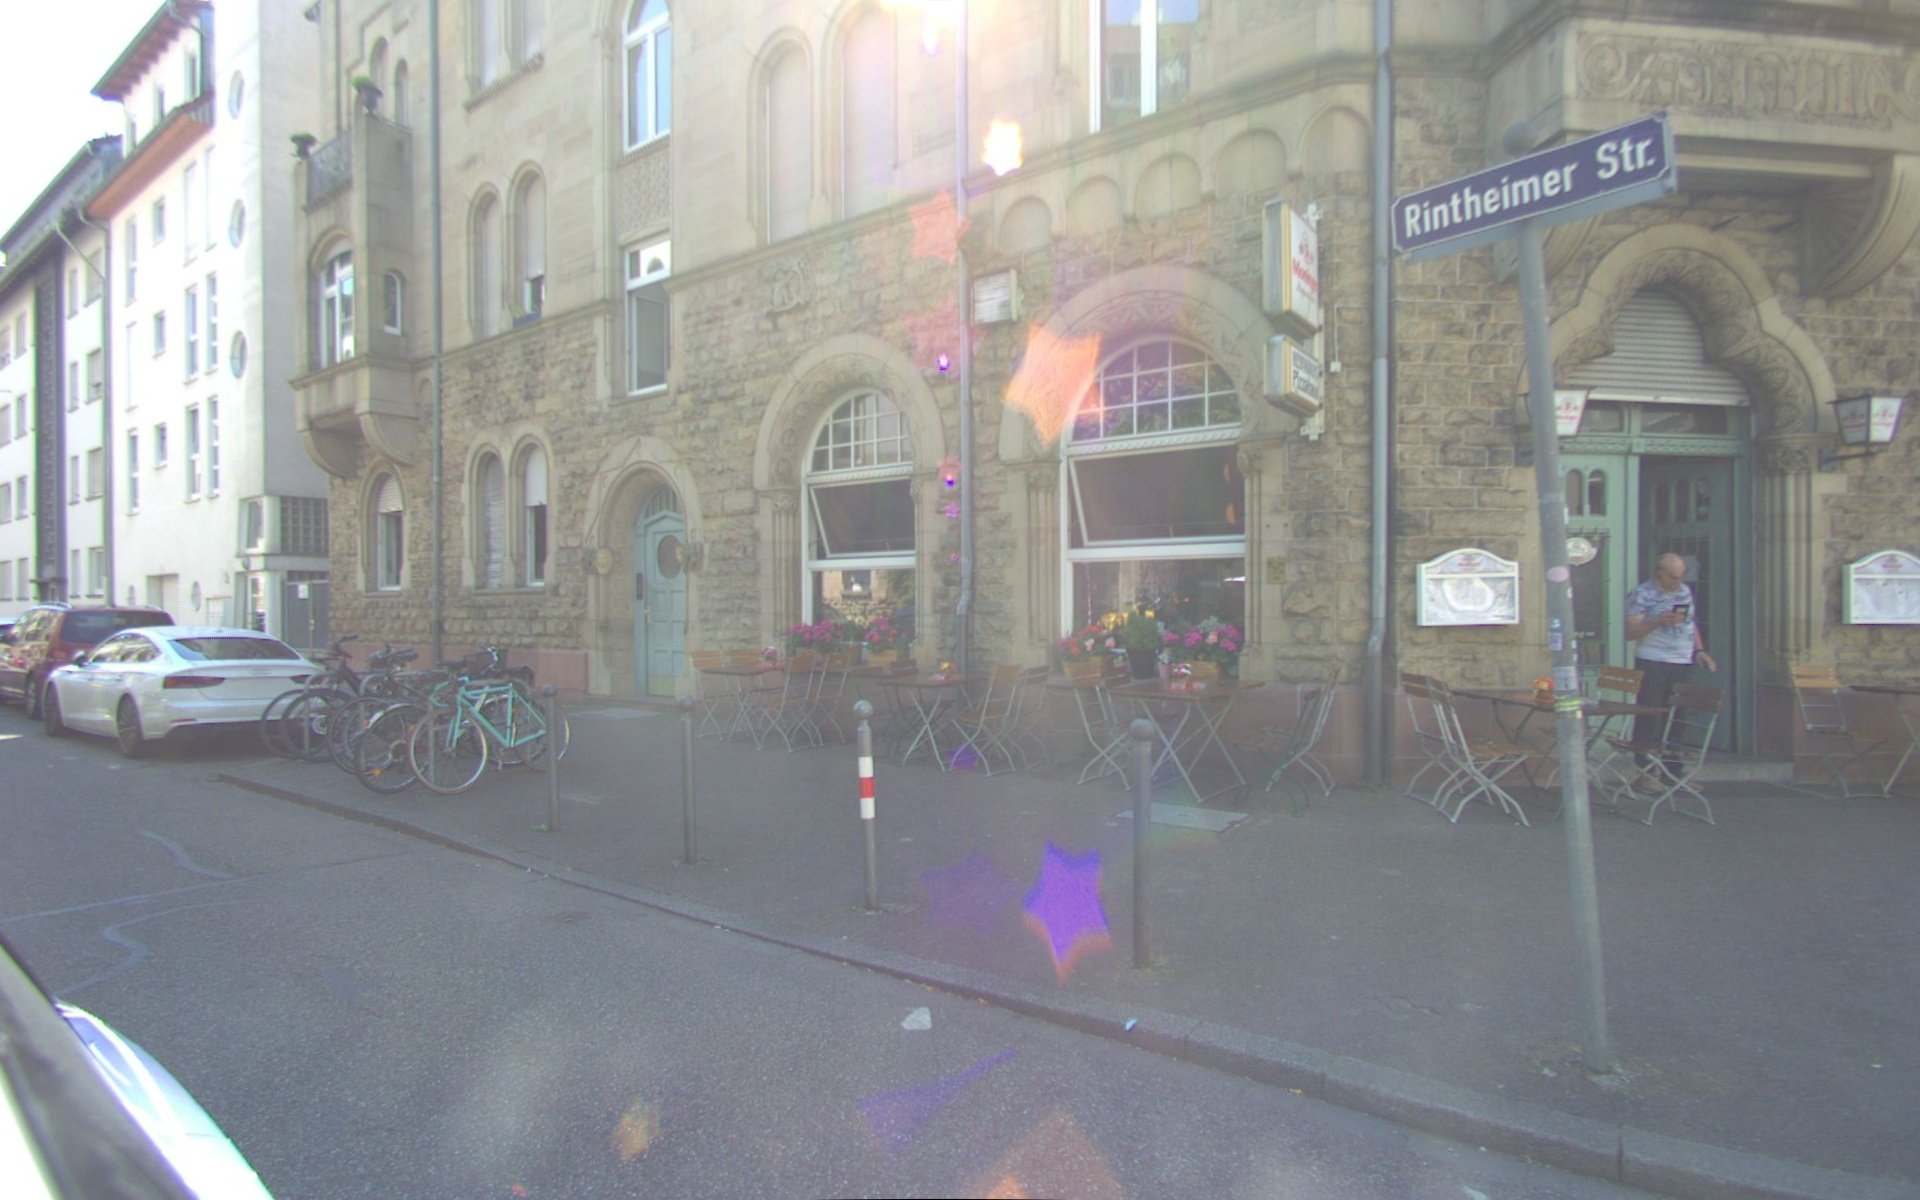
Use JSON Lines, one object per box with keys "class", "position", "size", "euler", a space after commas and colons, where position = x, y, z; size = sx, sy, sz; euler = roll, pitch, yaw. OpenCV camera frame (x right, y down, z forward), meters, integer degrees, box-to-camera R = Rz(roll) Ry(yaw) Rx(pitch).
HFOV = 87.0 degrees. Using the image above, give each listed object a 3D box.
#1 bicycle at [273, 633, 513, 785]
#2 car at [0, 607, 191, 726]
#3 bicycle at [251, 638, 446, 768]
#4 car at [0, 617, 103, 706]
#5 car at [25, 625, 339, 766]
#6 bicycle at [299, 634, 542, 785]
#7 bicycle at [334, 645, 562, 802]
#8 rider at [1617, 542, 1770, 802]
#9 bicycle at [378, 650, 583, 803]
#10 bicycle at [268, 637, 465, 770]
{"class": "bicycle", "position": [-5.209, 0.948, 9.451], "size": [0.394, 1.138, 1.956], "euler": [-1, 2, 33]}
{"class": "car", "position": [-13.434, 0.936, 15.377], "size": [4.045, 1.595, 1.657], "euler": [0, -3, 36]}
{"class": "bicycle", "position": [-6.046, 0.977, 10.106], "size": [0.291, 1.108, 1.689], "euler": [-1, 1, 33]}
{"class": "car", "position": [-17.361, 1.048, 18.356], "size": [4.270, 1.471, 1.760], "euler": [0, -3, 36]}
{"class": "car", "position": [-9.348, 1.012, 12.038], "size": [4.505, 1.363, 1.686], "euler": [0, -3, 35]}
{"class": "bicycle", "position": [-4.835, 0.929, 9.228], "size": [0.435, 1.138, 1.979], "euler": [-1, 1, 33]}
{"class": "bicycle", "position": [-4.204, 0.967, 8.444], "size": [0.413, 1.053, 1.691], "euler": [-1, 1, 33]}
{"class": "rider", "position": [5.037, 0.480, 6.973], "size": [0.632, 1.710, 0.542], "euler": [0, -1, -8]}
{"class": "bicycle", "position": [-3.835, 0.973, 8.208], "size": [0.366, 1.015, 1.513], "euler": [-1, 1, 33]}
{"class": "bicycle", "position": [-5.772, 0.967, 9.947], "size": [0.291, 1.108, 1.689], "euler": [-1, 1, 33]}
